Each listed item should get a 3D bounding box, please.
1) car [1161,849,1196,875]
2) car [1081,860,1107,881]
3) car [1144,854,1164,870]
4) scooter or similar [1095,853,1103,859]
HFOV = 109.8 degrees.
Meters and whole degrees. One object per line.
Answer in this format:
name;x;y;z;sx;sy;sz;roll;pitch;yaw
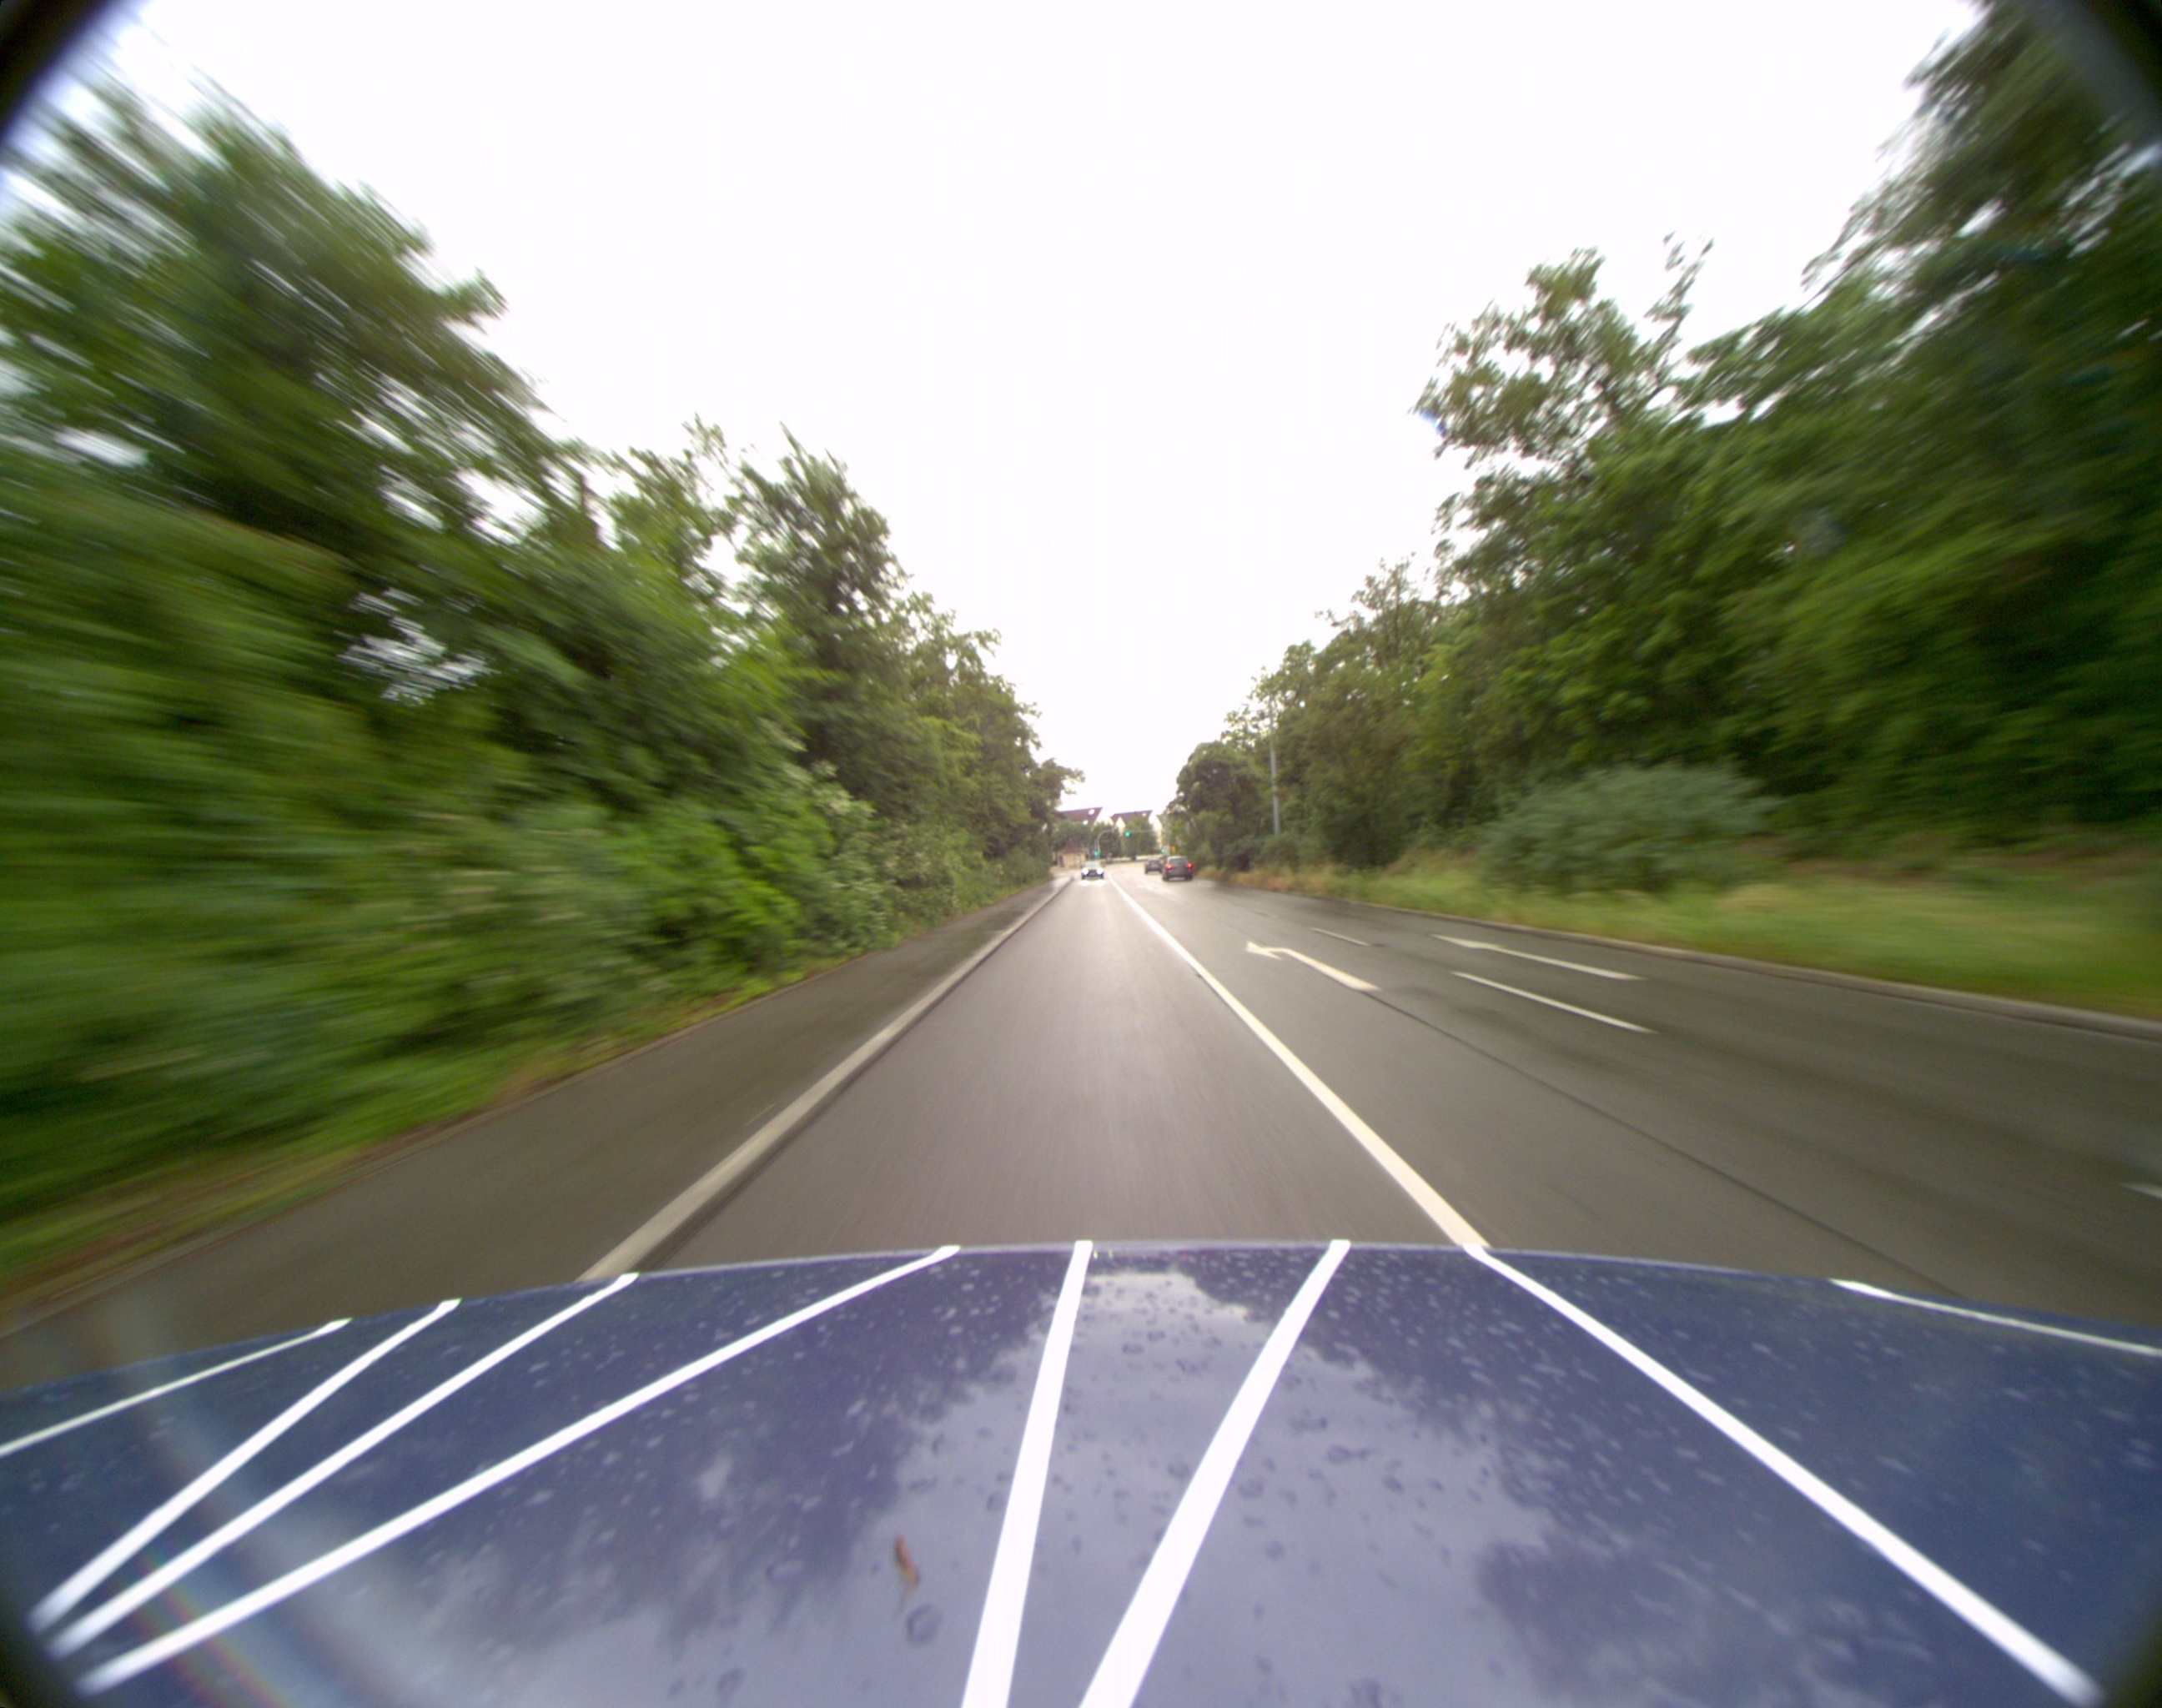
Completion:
car;6.491;0.521;50.877;1.776;1.601;4.084;-3;0;1
car;1.054;1.278;61.283;1.944;1.446;4.604;-3;1;2
car;7.215;0.771;75.109;1.603;1.433;3.990;-2;0;0
scooter or similar;3.949;0.489;166.735;1.350;1.200;0.525;-6;1;21
